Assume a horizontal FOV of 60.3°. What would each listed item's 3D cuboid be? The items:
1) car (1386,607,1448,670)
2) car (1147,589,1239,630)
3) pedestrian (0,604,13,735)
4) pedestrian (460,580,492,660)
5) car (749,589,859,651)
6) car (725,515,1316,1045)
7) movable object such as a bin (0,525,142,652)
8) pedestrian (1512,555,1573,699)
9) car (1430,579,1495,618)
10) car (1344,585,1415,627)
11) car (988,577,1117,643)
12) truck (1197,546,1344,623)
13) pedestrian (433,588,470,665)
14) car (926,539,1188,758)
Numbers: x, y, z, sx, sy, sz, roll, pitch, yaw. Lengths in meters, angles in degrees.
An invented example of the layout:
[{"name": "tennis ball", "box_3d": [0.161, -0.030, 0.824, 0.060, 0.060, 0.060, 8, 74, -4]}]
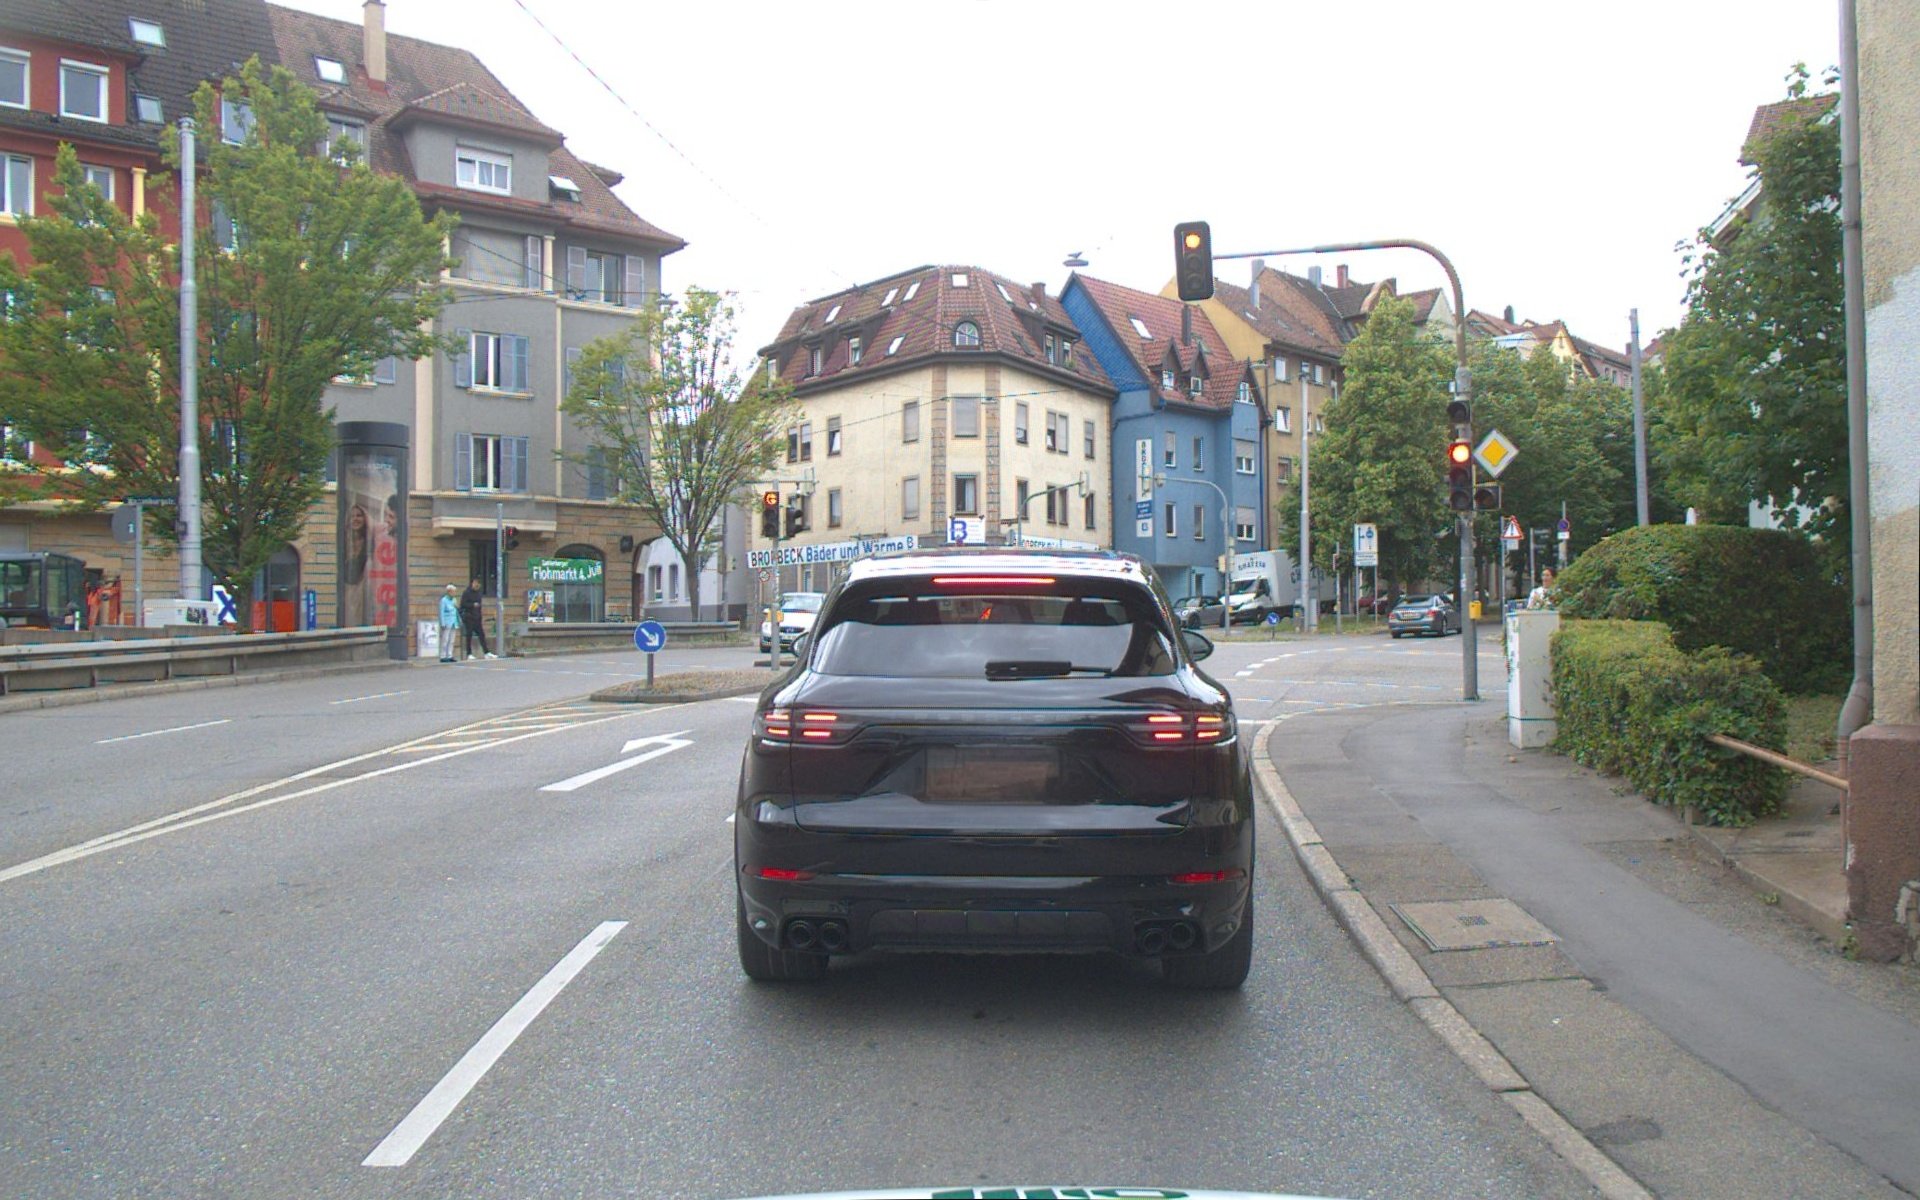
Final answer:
[{"name": "car", "box_3d": [15.903, 1.338, 57.434, 1.951, 2.049, 4.002, 1, -1, 17]}, {"name": "car", "box_3d": [10.154, 0.409, 72.038, 3.968, 1.713, 1.968, 0, 0, -43]}, {"name": "pedestrian", "box_3d": [-13.288, 0.935, 22.572, 0.537, 1.760, 0.586, 2, -1, -35]}, {"name": "pedestrian", "box_3d": [-10.869, 0.441, 37.152, 0.503, 1.760, 0.451, 2, -1, 1]}, {"name": "car", "box_3d": [-4.198, 0.562, 45.218, 1.849, 1.607, 3.972, -1, -1, 12]}, {"name": "car", "box_3d": [0.088, 0.556, 7.406, 1.939, 1.713, 3.997, 0, 1, -4]}, {"name": "movable object such as a bin", "box_3d": [-14.234, -0.190, 25.670, 1.870, 1.802, 3.986, 2, 0, -14]}, {"name": "pedestrian", "box_3d": [7.675, 0.351, 21.801, 0.577, 1.851, 0.529, 2, -1, 1]}, {"name": "car", "box_3d": [28.461, -0.100, 93.647, 1.965, 2.049, 3.975, 2, 0, 42]}, {"name": "car", "box_3d": [21.946, 0.339, 86.491, 1.965, 2.049, 3.975, 2, 0, 42]}, {"name": "car", "box_3d": [3.015, 0.324, 54.402, 1.985, 2.049, 3.935, 2, -1, -44]}, {"name": "truck", "box_3d": [14.891, -0.684, 78.690, 2.830, 3.398, 8.744, 2, 0, 41]}, {"name": "pedestrian", "box_3d": [-10.702, 0.556, 34.801, 0.577, 1.594, 0.486, 2, -1, -1]}, {"name": "car", "box_3d": [1.028, 0.384, 15.078, 1.951, 1.713, 4.003, 0, 0, 10]}]
